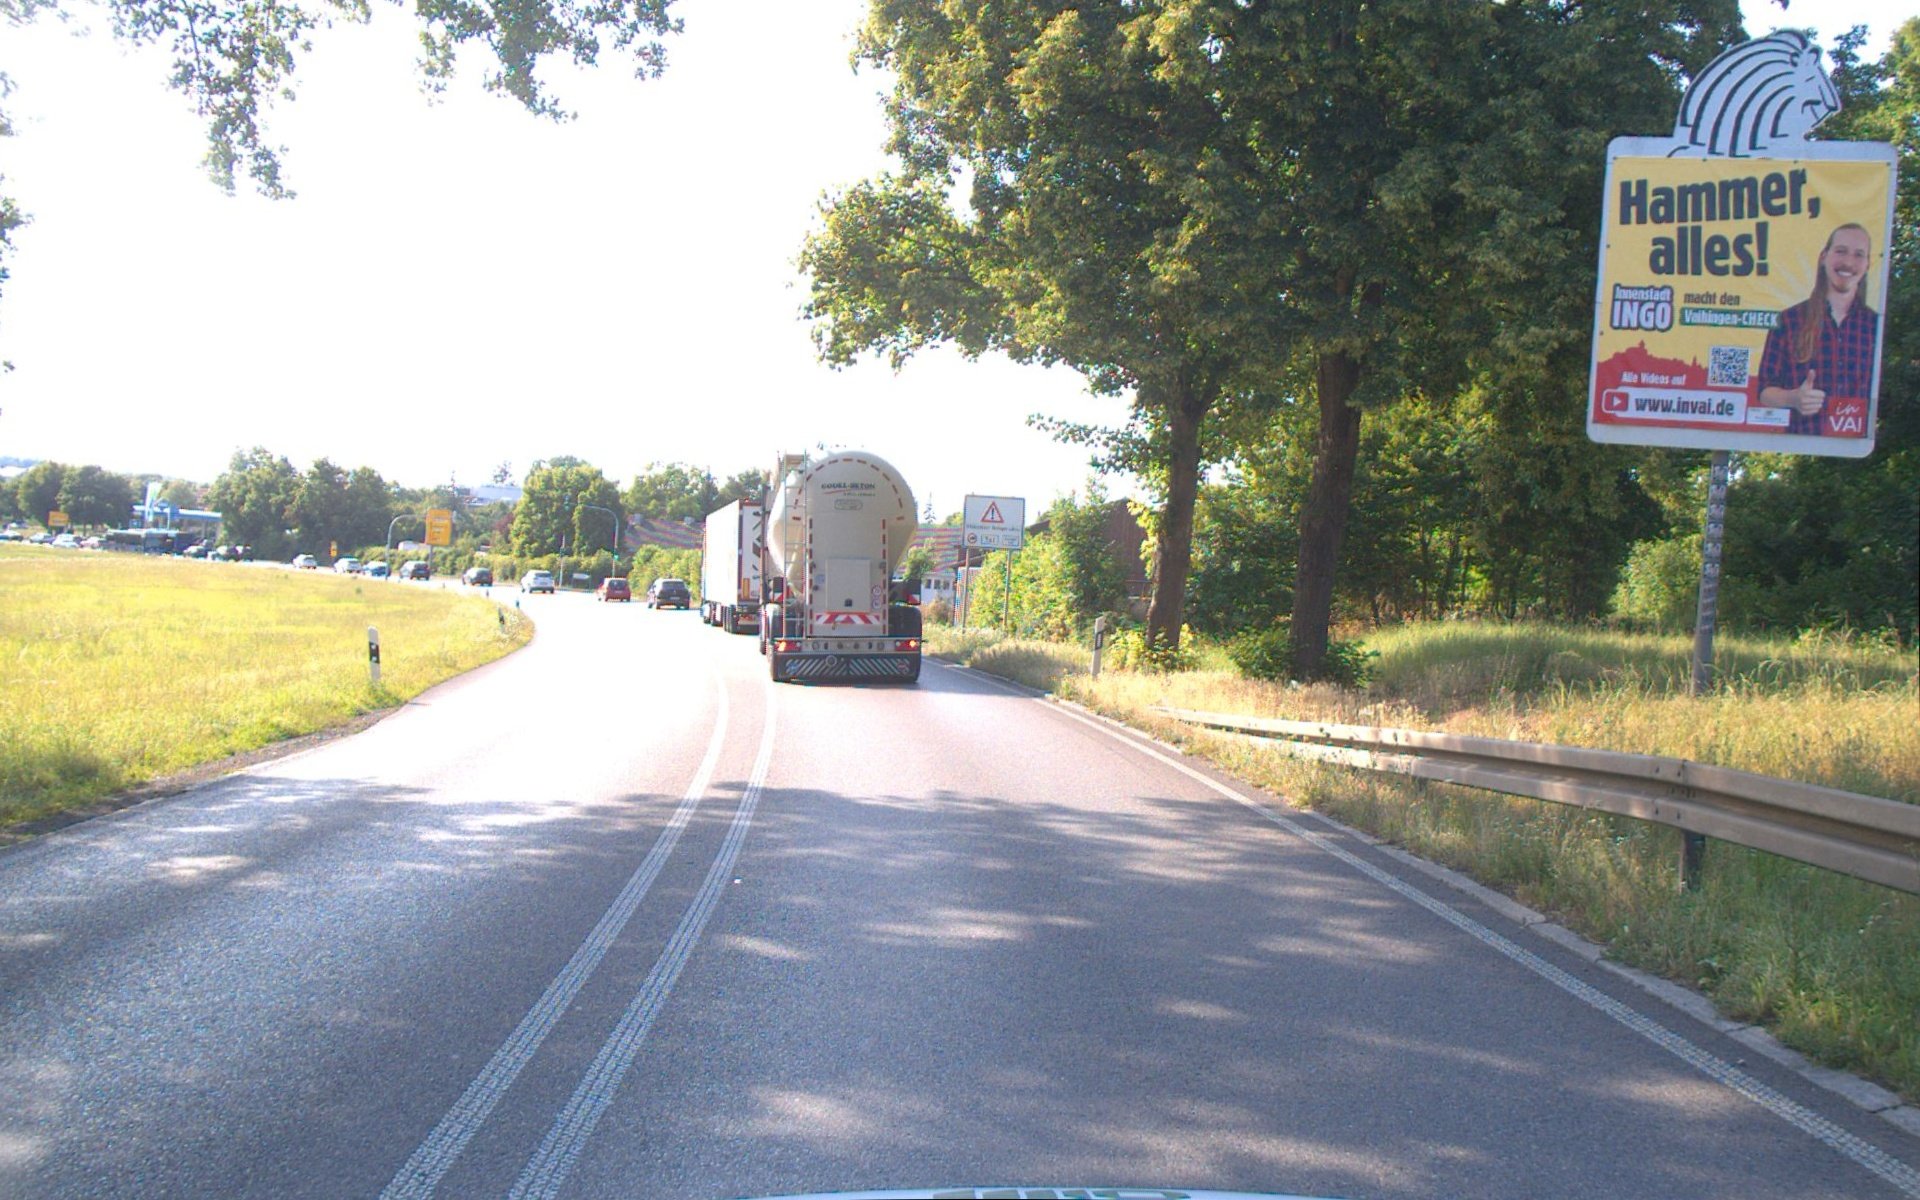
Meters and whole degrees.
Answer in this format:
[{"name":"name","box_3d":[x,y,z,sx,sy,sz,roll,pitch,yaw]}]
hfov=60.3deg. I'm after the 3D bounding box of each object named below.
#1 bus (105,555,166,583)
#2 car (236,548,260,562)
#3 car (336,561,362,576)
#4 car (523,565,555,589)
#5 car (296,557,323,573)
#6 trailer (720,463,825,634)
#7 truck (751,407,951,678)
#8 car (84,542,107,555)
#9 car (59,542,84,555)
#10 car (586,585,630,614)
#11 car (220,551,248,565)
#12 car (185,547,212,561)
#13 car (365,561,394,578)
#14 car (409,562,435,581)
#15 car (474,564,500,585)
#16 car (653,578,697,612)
[{"name":"bus","box_3d":[-100.665,-3.792,201.811,11.918,3.237,2.784,1,-1,44]},{"name":"car","box_3d":[-88.313,-5.588,205.014,1.717,1.685,3.816,2,0,-40]},{"name":"car","box_3d":[-64.254,-3.302,173.898,1.665,1.586,3.824,1,0,-35]},{"name":"car","box_3d":[-31.621,-1.716,124.244,1.815,1.685,3.974,1,0,-21]},{"name":"car","box_3d":[-73.074,-3.960,185.671,1.960,1.685,3.824,1,0,-36]},{"name":"trailer","box_3d":[-6.247,-1.509,53.883,2.909,4.967,10.267,1,0,-9]},{"name":"truck","box_3d":[-2.450,-0.880,32.138,2.920,4.248,11.640,1,0,-8]},{"name":"car","box_3d":[-117.617,-7.036,225.018,1.872,1.627,3.938,1,1,-43]},{"name":"car","box_3d":[-122.836,-7.114,228.705,3.930,1.627,1.876,3,1,43]},{"name":"car","box_3d":[-22.133,-0.031,103.886,2.264,1.685,4.392,1,0,-18]},{"name":"car","box_3d":[-87.844,-5.056,200.000,2.072,1.627,3.942,1,1,-40]},{"name":"car","box_3d":[-95.205,-5.728,206.730,2.072,1.627,3.942,1,1,-40]},{"name":"car","box_3d":[-58.216,-3.048,165.828,1.665,1.586,3.824,1,0,-35]},{"name":"car","box_3d":[-51.087,-2.708,157.086,1.504,1.685,3.832,1,0,-31]},{"name":"car","box_3d":[-39.817,-2.114,139.090,1.500,1.685,3.842,1,0,-25]},{"name":"car","box_3d":[-15.028,-0.251,87.101,1.960,1.685,3.985,1,0,-14]}]
